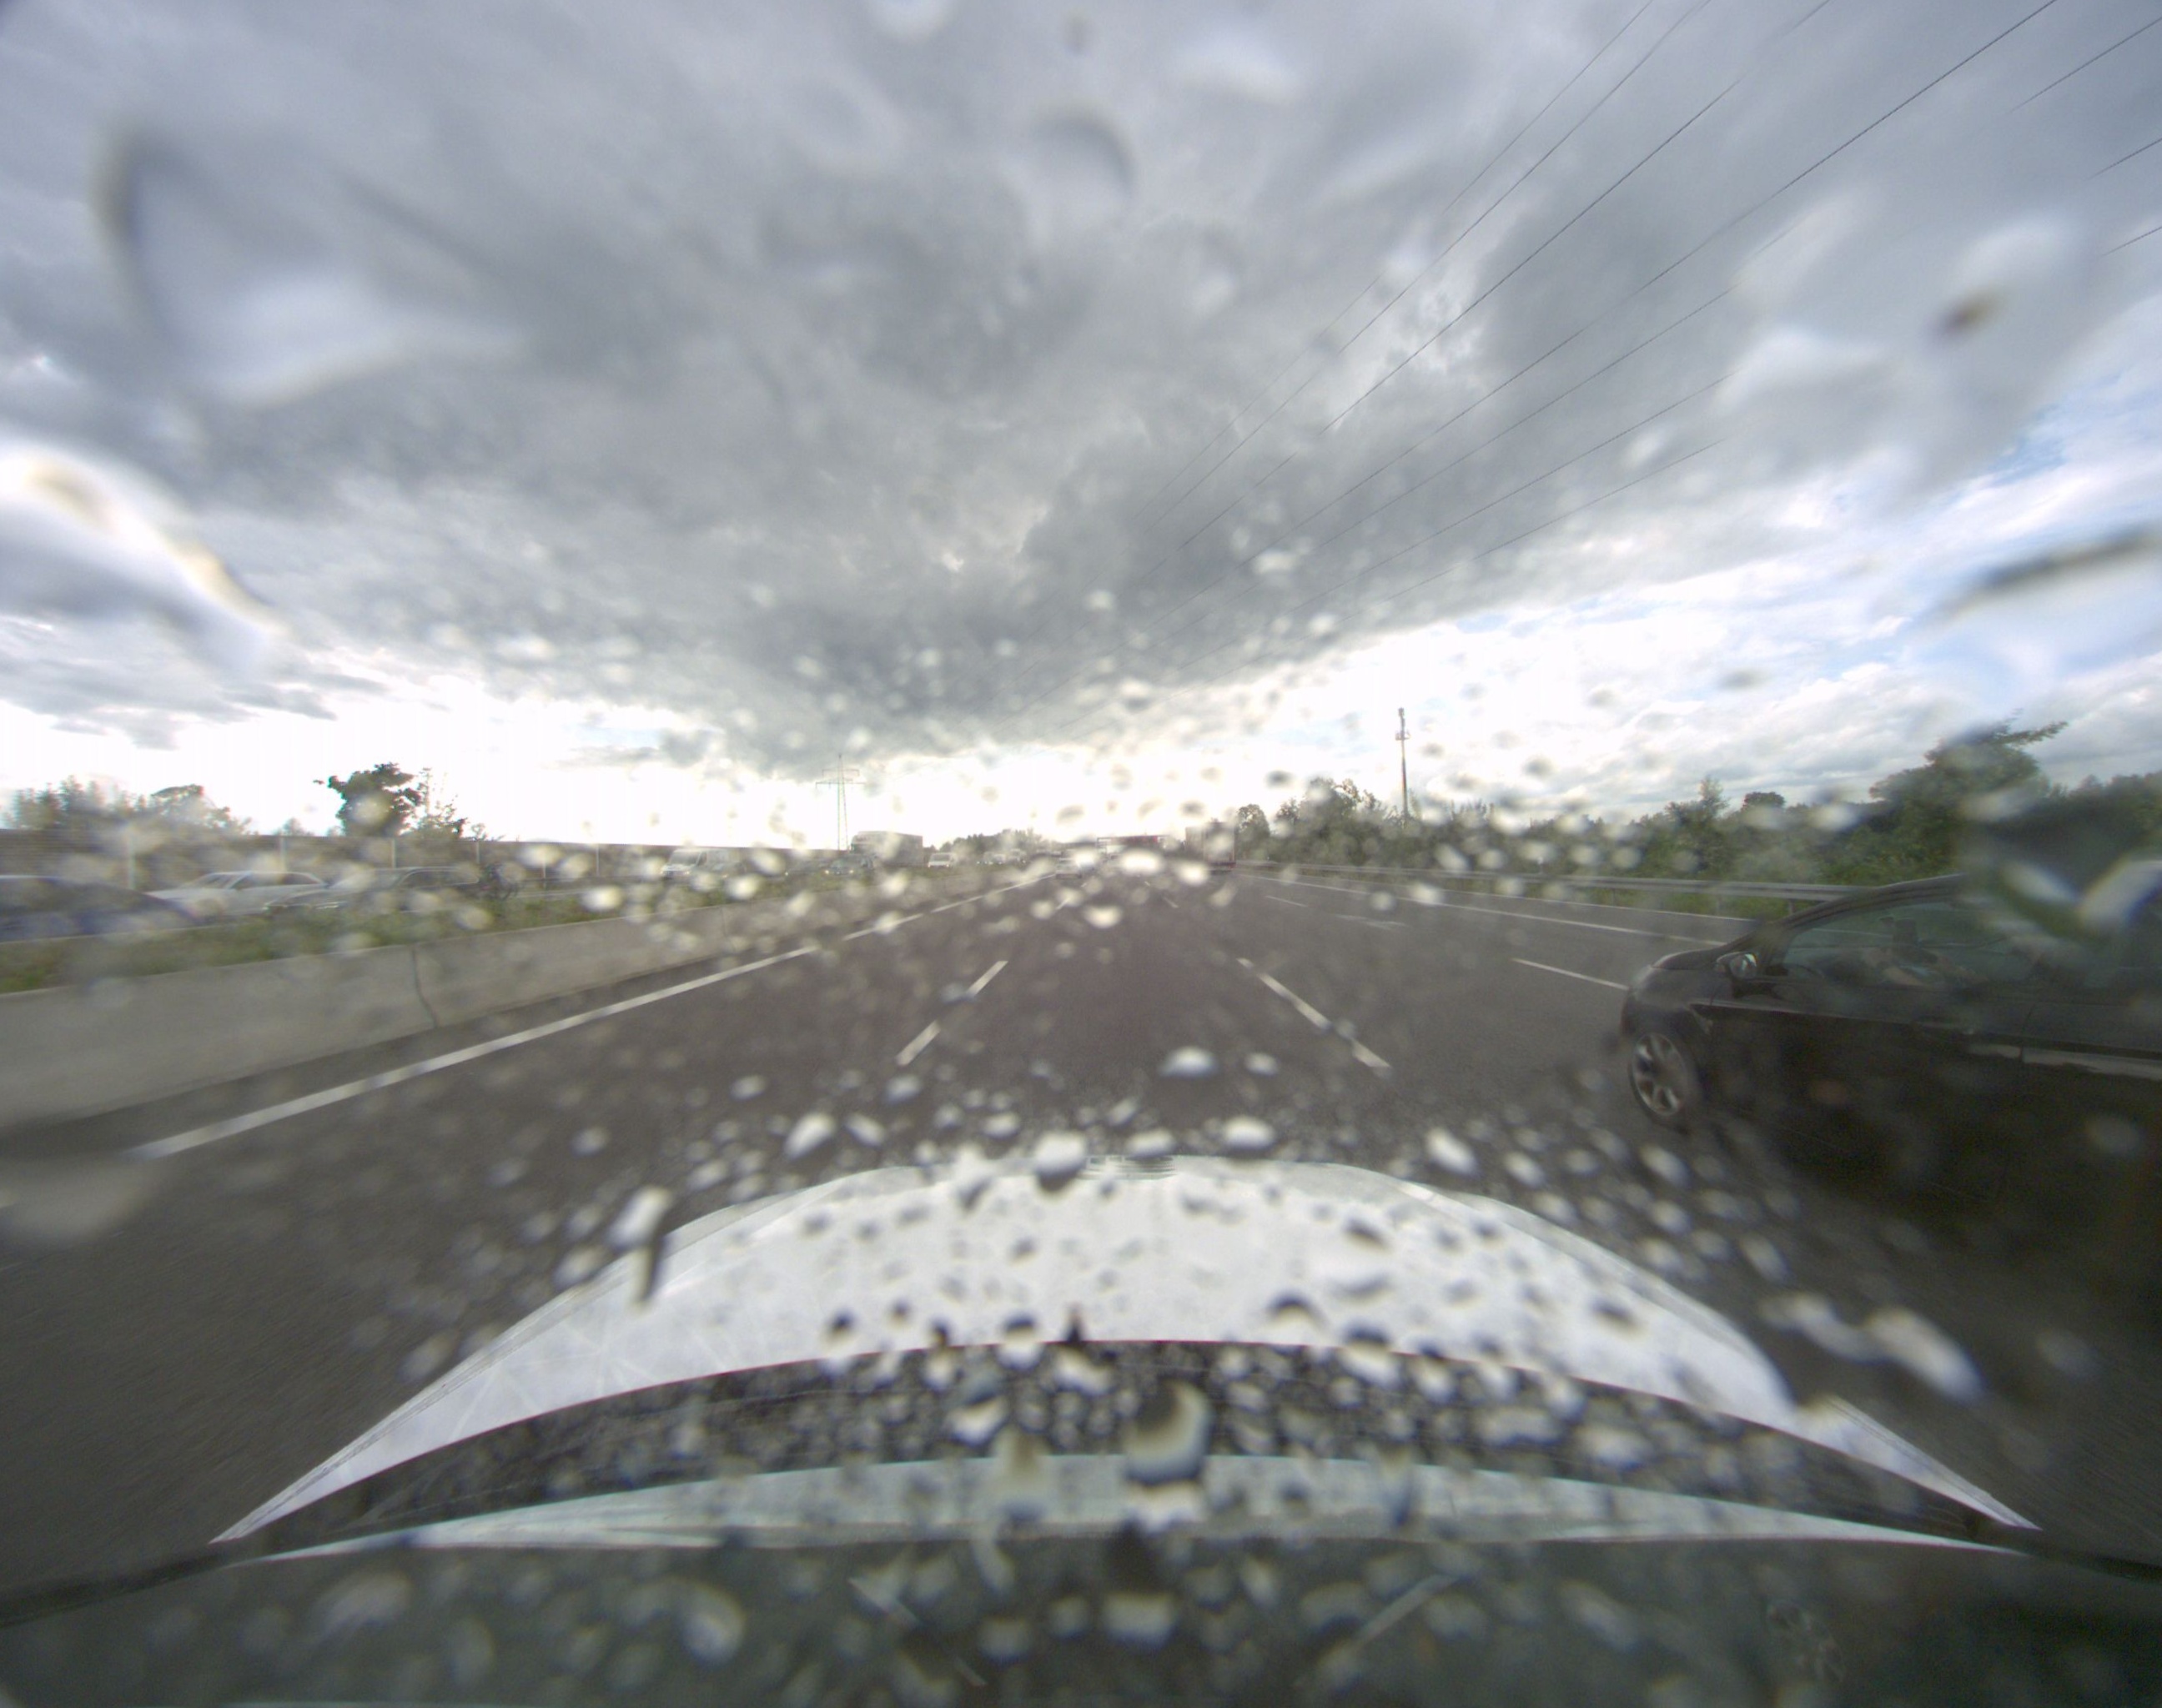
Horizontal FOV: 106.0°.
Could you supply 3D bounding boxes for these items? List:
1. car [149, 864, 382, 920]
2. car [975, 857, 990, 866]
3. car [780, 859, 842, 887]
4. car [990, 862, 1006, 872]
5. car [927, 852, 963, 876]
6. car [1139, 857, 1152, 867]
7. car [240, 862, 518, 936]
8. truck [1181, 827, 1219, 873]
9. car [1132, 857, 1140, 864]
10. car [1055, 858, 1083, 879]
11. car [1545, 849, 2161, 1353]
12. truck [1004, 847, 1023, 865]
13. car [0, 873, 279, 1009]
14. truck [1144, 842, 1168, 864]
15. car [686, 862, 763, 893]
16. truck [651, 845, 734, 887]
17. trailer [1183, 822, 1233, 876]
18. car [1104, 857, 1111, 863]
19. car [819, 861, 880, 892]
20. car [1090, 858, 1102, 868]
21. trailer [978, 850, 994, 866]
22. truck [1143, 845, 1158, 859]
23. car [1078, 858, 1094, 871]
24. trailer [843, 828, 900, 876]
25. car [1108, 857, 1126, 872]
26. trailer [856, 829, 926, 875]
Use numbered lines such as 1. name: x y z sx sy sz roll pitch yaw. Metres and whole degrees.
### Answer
1. car: -24.432 1.080 24.770 1.759 1.496 5.162 0 -1 2
2. car: -18.253 1.363 150.844 1.957 1.595 4.822 0 -1 2
3. car: -15.613 1.076 47.366 1.759 1.537 5.162 0 -1 2
4. car: -12.413 1.988 122.251 1.759 1.454 4.945 0 -1 2
5. car: -11.243 0.800 67.554 1.915 1.899 5.162 0 -1 2
6. car: 10.142 1.214 128.370 1.828 1.441 4.059 -1 0 3
7. car: -16.791 0.984 20.044 1.759 1.549 5.715 0 -1 2
8. truck: 10.885 -0.330 75.144 2.948 4.020 6.595 -1 0 4
9. car: 12.581 1.420 185.485 1.828 1.441 4.059 -1 0 3
10. car: -0.804 1.015 57.603 1.765 1.441 3.876 -1 0 2
11. car: 3.821 0.711 3.921 1.441 1.441 3.165 -1 0 2
12. truck: -16.686 0.603 202.396 3.646 4.319 8.242 0 -1 2
13. car: -13.420 1.038 10.070 1.759 1.537 5.162 0 -1 2
14. truck: 14.890 -0.162 162.209 4.163 4.288 12.621 0 0 3
15. car: -19.156 1.236 44.074 1.759 1.537 5.162 0 -1 2
16. truck: -23.454 0.716 49.465 2.108 2.417 5.799 0 -1 2
17. trailer: 10.399 -0.364 68.120 2.948 4.020 14.133 -1 0 4
18. car: 6.588 1.497 201.244 1.765 1.441 4.059 -1 0 3
19. car: -11.972 1.130 42.396 1.759 1.537 4.485 0 -1 2
20. car: 2.360 1.402 125.491 1.766 1.441 4.056 -1 0 1
21. trailer: -18.111 0.807 155.721 2.239 2.962 4.902 0 -1 2
22. truck: 20.506 -0.547 240.248 4.225 4.176 12.000 0 -1 4
23. car: 0.623 1.159 93.781 1.766 1.441 4.057 -1 0 2
24. trailer: -18.339 -0.164 71.661 3.307 4.044 6.081 0 -1 2
25. car: 3.582 1.009 81.584 1.766 1.441 4.057 -1 0 2
26. trailer: -18.140 -0.104 78.860 3.307 4.061 13.292 0 -1 2
